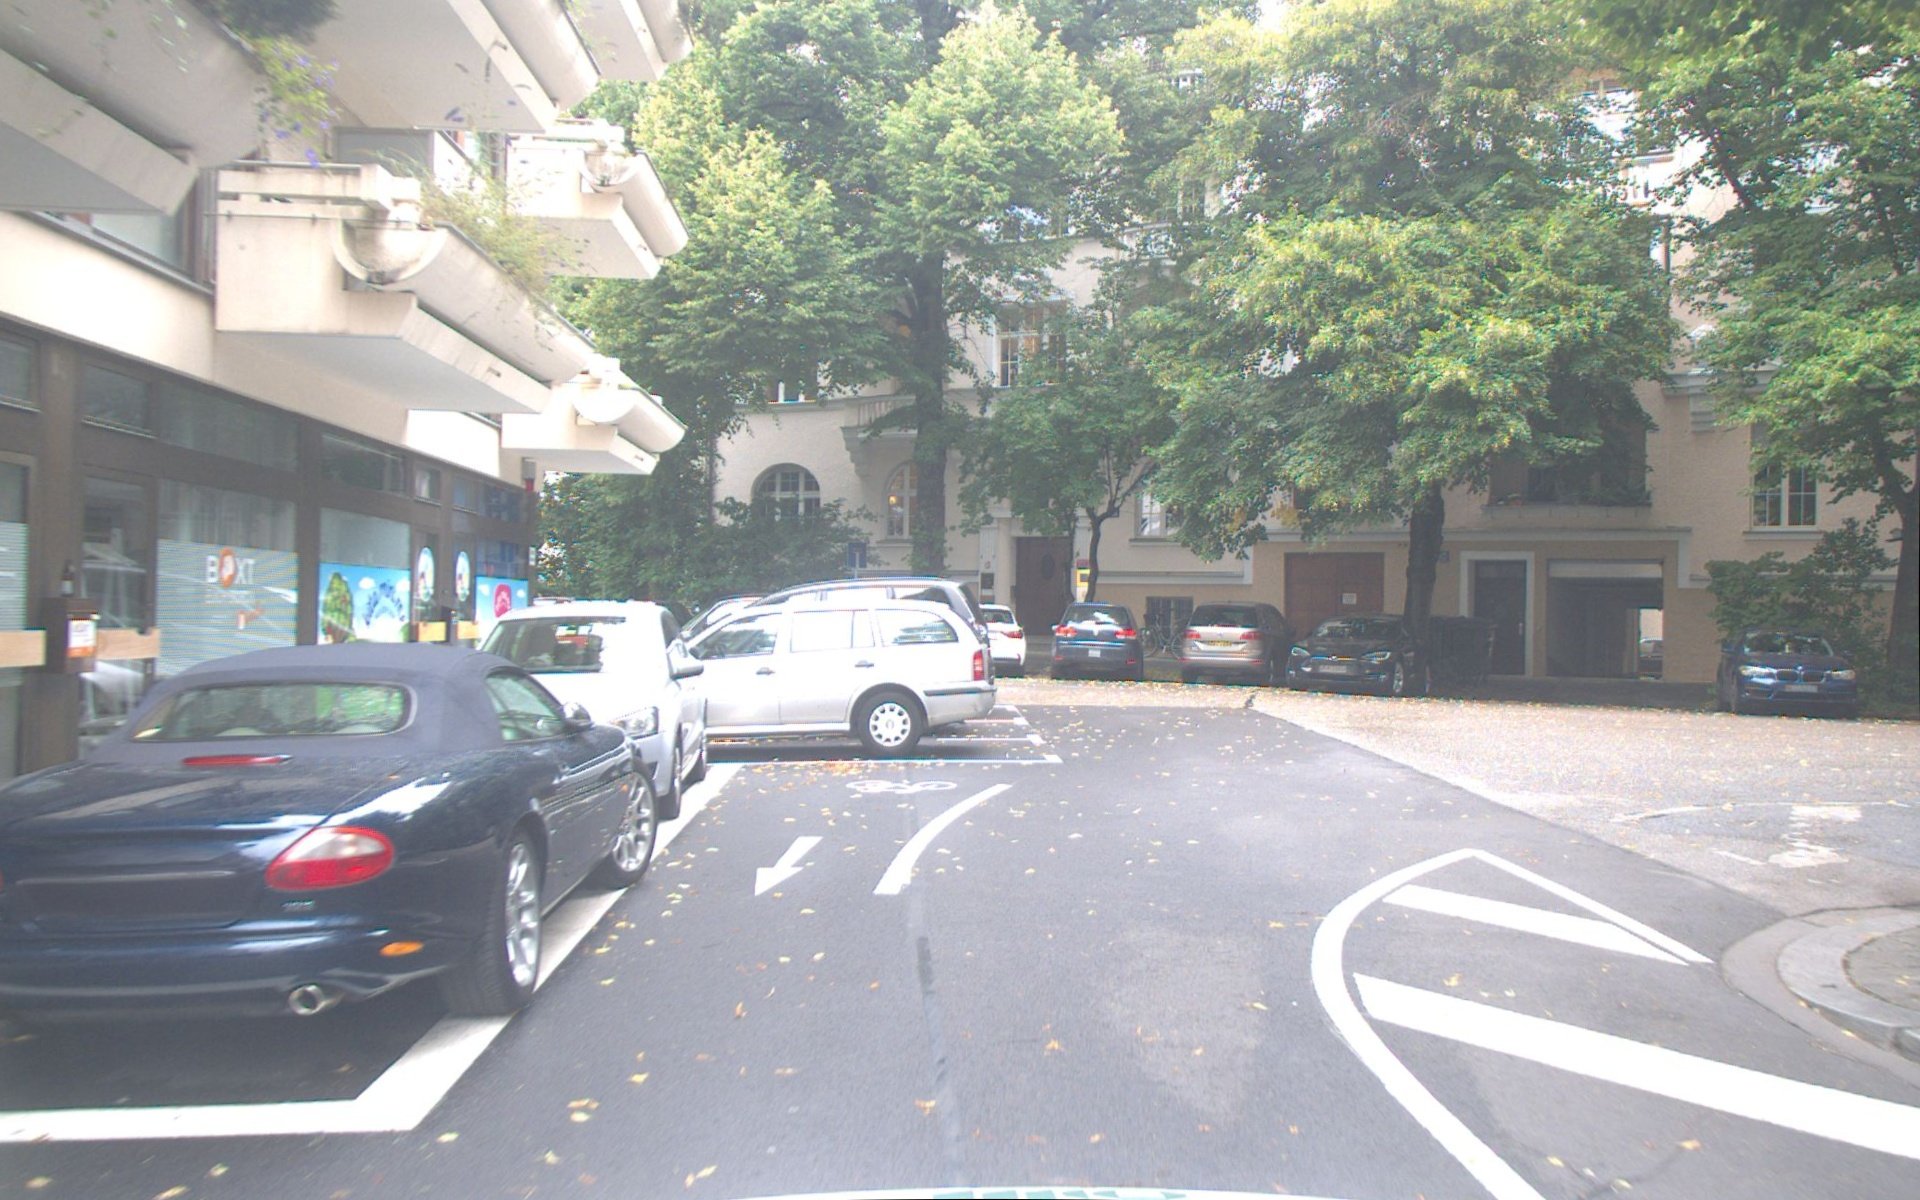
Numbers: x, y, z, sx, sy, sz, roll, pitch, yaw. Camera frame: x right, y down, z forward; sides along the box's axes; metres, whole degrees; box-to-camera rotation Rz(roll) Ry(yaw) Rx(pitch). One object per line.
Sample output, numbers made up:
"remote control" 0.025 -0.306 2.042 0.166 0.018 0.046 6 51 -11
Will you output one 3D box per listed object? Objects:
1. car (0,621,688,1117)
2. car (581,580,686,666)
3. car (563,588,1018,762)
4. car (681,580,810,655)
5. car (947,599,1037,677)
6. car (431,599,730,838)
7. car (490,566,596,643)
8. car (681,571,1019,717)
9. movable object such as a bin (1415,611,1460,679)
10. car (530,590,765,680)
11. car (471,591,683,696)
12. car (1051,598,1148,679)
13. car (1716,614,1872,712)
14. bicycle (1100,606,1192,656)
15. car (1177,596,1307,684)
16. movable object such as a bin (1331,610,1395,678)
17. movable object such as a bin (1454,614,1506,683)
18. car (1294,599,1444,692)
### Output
"car" -2.299 0.789 6.982 1.761 1.300 4.614 -1 0 -3
"car" -6.712 0.442 34.358 1.667 1.629 3.996 1 0 -5
"car" -1.595 0.683 16.150 4.144 1.480 1.720 -2 0 -4
"car" -4.544 0.336 34.575 2.023 1.425 3.981 2 0 -17
"car" 0.603 0.726 33.516 1.683 1.456 4.000 2 0 0
"car" -2.622 0.733 12.204 1.530 1.446 3.830 -1 0 -4
"car" -9.450 0.095 37.737 1.667 1.629 3.996 1 0 -5
"car" -1.416 0.537 21.416 4.137 1.713 1.901 -1 0 -5
"movable object such as a bin" 10.038 0.928 34.735 0.698 1.371 1.372 1 0 25
"car" -4.879 0.547 25.788 3.397 1.307 1.522 1 0 -20
"car" -6.417 0.724 27.664 3.242 1.659 1.500 2 0 -22
"car" 2.732 0.718 32.615 1.754 1.456 4.002 2 0 4
"car" 13.404 1.000 26.812 1.801 1.407 4.342 1 -1 21
"bicycle" 4.596 0.759 40.951 2.185 1.135 0.576 2 0 26
"car" 5.536 0.749 32.111 1.800 1.557 4.026 1 0 19
"movable object such as a bin" 8.568 0.920 35.137 1.126 1.372 1.156 2 1 23
"movable object such as a bin" 10.684 0.978 33.948 0.845 1.328 1.432 3 1 23
"car" 7.454 0.865 29.869 1.671 1.492 4.283 3 -2 27
